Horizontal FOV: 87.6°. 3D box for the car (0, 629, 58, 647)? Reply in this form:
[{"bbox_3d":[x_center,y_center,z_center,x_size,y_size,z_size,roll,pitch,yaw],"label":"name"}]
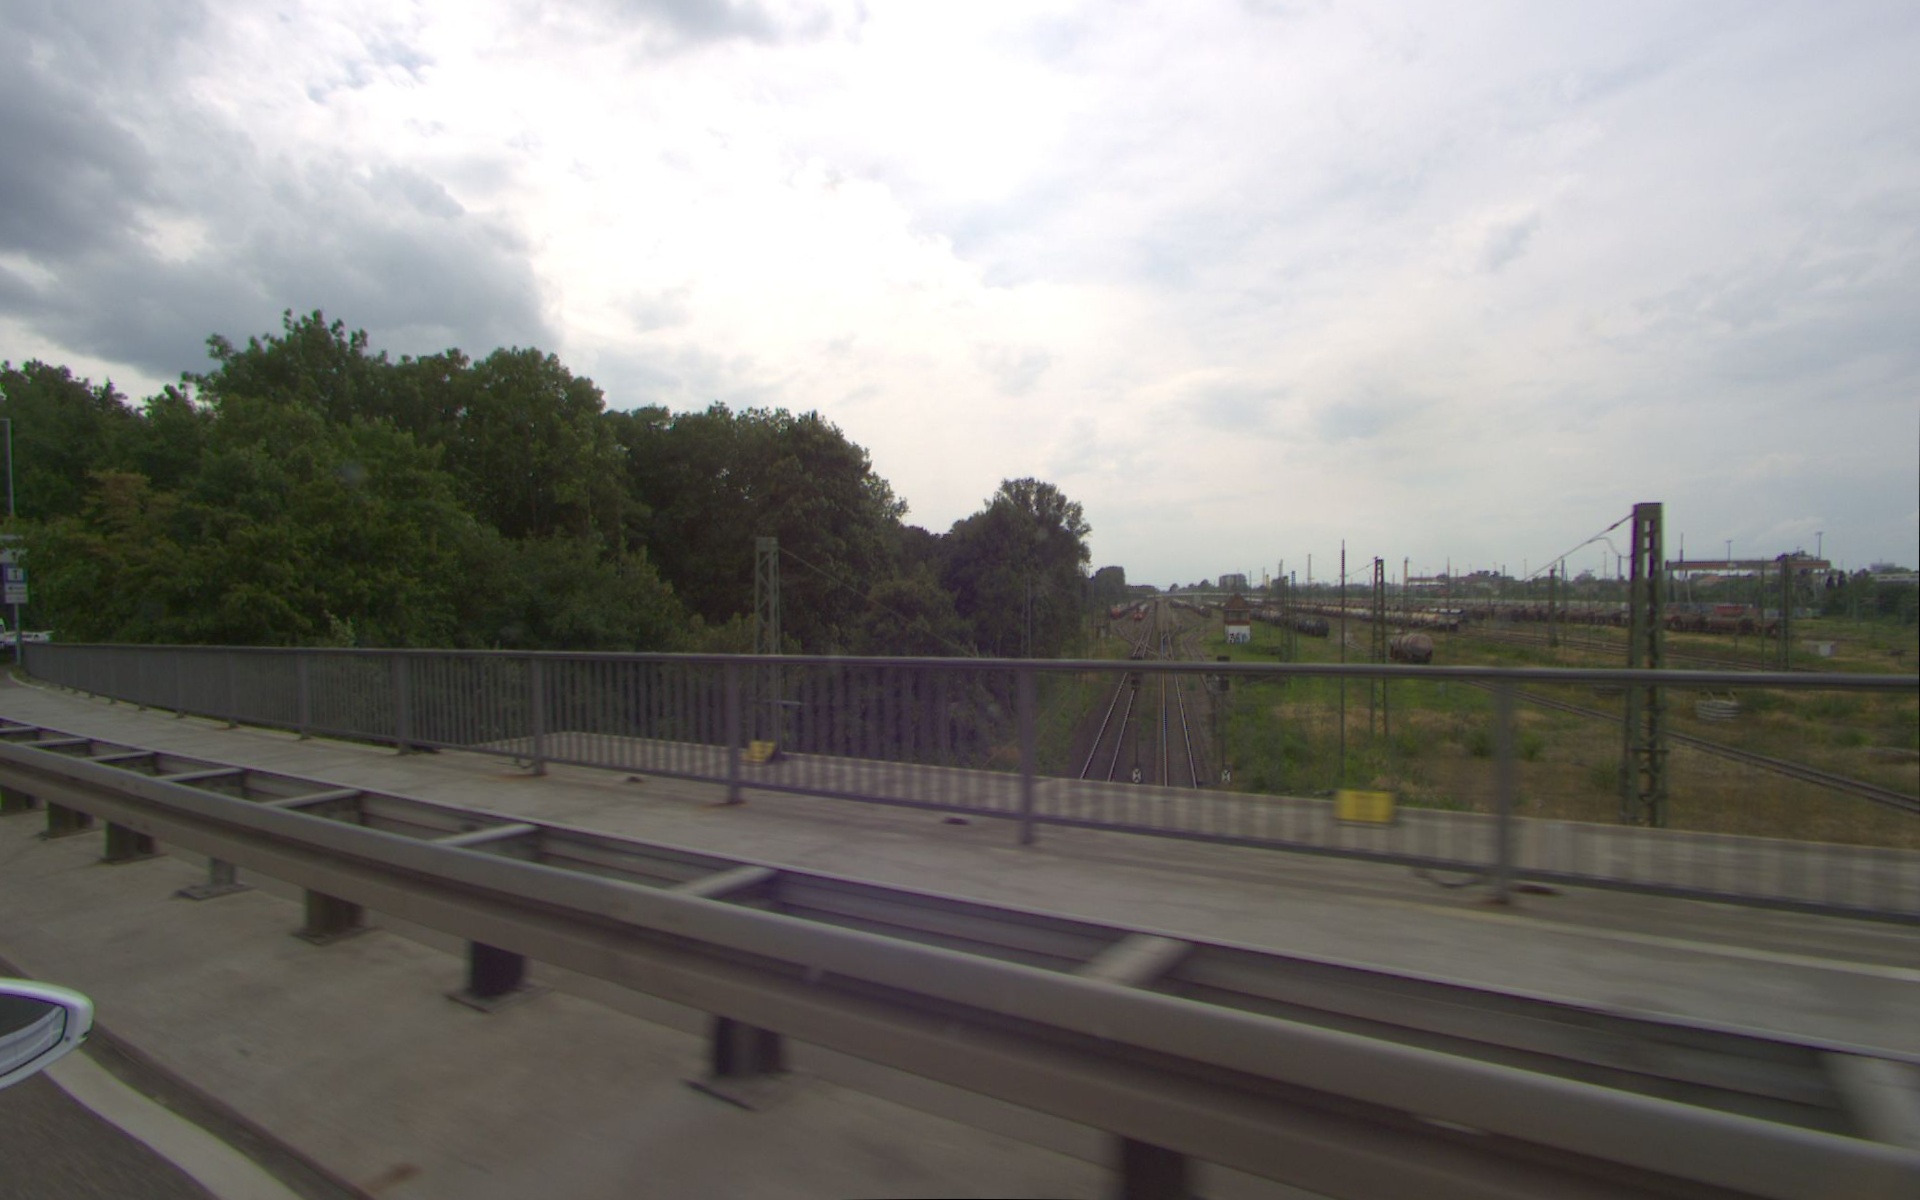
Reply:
[{"bbox_3d":[-81.377,3.278,87.604,1.965,1.517,4.393,0,-2,-17],"label":"car"}]

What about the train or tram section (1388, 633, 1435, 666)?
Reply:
[{"bbox_3d":[61.047,6.665,135.689,3.191,4.221,11.384,0,-2,11],"label":"train or tram section"}]

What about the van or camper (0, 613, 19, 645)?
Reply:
[{"bbox_3d":[-79.097,2.366,80.722,2.129,2.622,6.484,0,-2,-18],"label":"van or camper"}]
